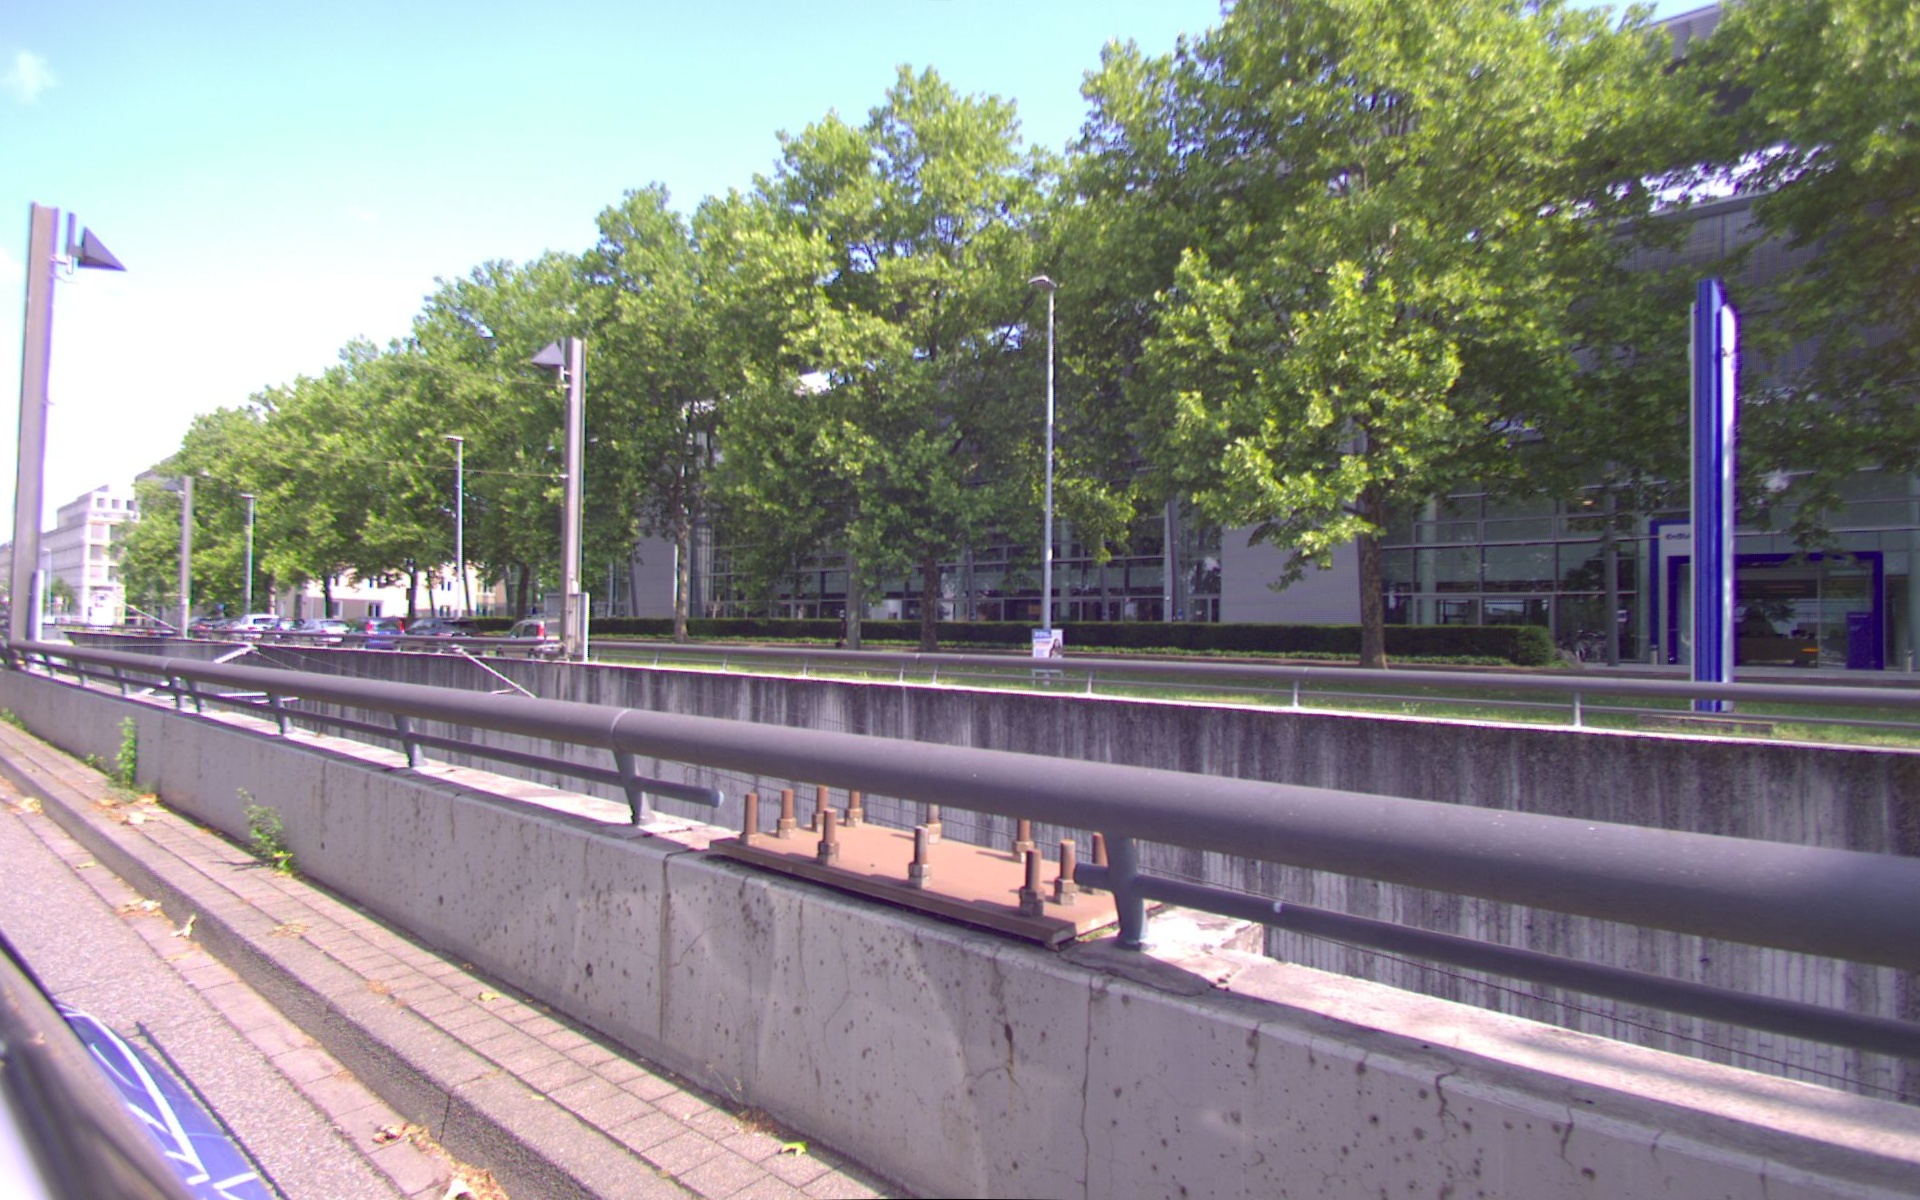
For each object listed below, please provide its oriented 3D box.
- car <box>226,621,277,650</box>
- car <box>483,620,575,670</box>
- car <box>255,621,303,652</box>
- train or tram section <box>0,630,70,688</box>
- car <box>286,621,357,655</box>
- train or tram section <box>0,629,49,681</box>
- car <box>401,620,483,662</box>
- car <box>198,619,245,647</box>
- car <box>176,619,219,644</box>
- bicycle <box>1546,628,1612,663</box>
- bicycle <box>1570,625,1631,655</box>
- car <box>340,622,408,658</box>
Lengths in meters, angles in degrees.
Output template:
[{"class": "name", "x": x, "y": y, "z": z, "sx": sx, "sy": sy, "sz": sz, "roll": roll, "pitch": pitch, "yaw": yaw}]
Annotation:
[{"class": "car", "x": -34.899, "y": 1.740, "z": 49.833, "sx": 3.183, "sy": 1.387, "sz": 1.292, "roll": -1, "pitch": -2, "yaw": 41}, {"class": "car", "x": -13.561, "y": 1.385, "z": 31.802, "sx": 3.155, "sy": 1.467, "sz": 1.402, "roll": -1, "pitch": -2, "yaw": 41}, {"class": "car", "x": -31.803, "y": 1.690, "z": 47.257, "sx": 2.744, "sy": 1.387, "sz": 1.152, "roll": -1, "pitch": -2, "yaw": 41}, {"class": "train or tram section", "x": -44.702, "y": 2.731, "z": 48.494, "sx": 6.244, "sy": 2.477, "sz": 2.188, "roll": -1, "pitch": 0, "yaw": 40}, {"class": "car", "x": -27.837, "y": 1.642, "z": 44.098, "sx": 3.894, "sy": 1.387, "sz": 1.559, "roll": -1, "pitch": -2, "yaw": 41}, {"class": "train or tram section", "x": -49.381, "y": 2.792, "z": 52.603, "sx": 6.244, "sy": 2.477, "sz": 2.188, "roll": -1, "pitch": 0, "yaw": 40}, {"class": "car", "x": -18.667, "y": 1.445, "z": 36.450, "sx": 3.155, "sy": 1.445, "sz": 1.562, "roll": -1, "pitch": -2, "yaw": 41}, {"class": "car", "x": -39.003, "y": 1.731, "z": 53.429, "sx": 3.183, "sy": 1.387, "sz": 1.292, "roll": -1, "pitch": -2, "yaw": 41}, {"class": "car", "x": -42.946, "y": 1.777, "z": 56.976, "sx": 3.183, "sy": 1.387, "sz": 1.292, "roll": -1, "pitch": -2, "yaw": 41}, {"class": "bicycle", "x": 22.082, "y": 1.617, "z": 36.141, "sx": 0.802, "sy": 1.186, "sz": 2.339, "roll": 0, "pitch": -1, "yaw": -3}, {"class": "bicycle", "x": 22.917, "y": 1.415, "z": 36.290, "sx": 0.586, "sy": 1.031, "sz": 2.339, "roll": 0, "pitch": -1, "yaw": -3}, {"class": "car", "x": -23.478, "y": 1.583, "z": 40.500, "sx": 2.886, "sy": 1.387, "sz": 1.495, "roll": -1, "pitch": -2, "yaw": 41}]
